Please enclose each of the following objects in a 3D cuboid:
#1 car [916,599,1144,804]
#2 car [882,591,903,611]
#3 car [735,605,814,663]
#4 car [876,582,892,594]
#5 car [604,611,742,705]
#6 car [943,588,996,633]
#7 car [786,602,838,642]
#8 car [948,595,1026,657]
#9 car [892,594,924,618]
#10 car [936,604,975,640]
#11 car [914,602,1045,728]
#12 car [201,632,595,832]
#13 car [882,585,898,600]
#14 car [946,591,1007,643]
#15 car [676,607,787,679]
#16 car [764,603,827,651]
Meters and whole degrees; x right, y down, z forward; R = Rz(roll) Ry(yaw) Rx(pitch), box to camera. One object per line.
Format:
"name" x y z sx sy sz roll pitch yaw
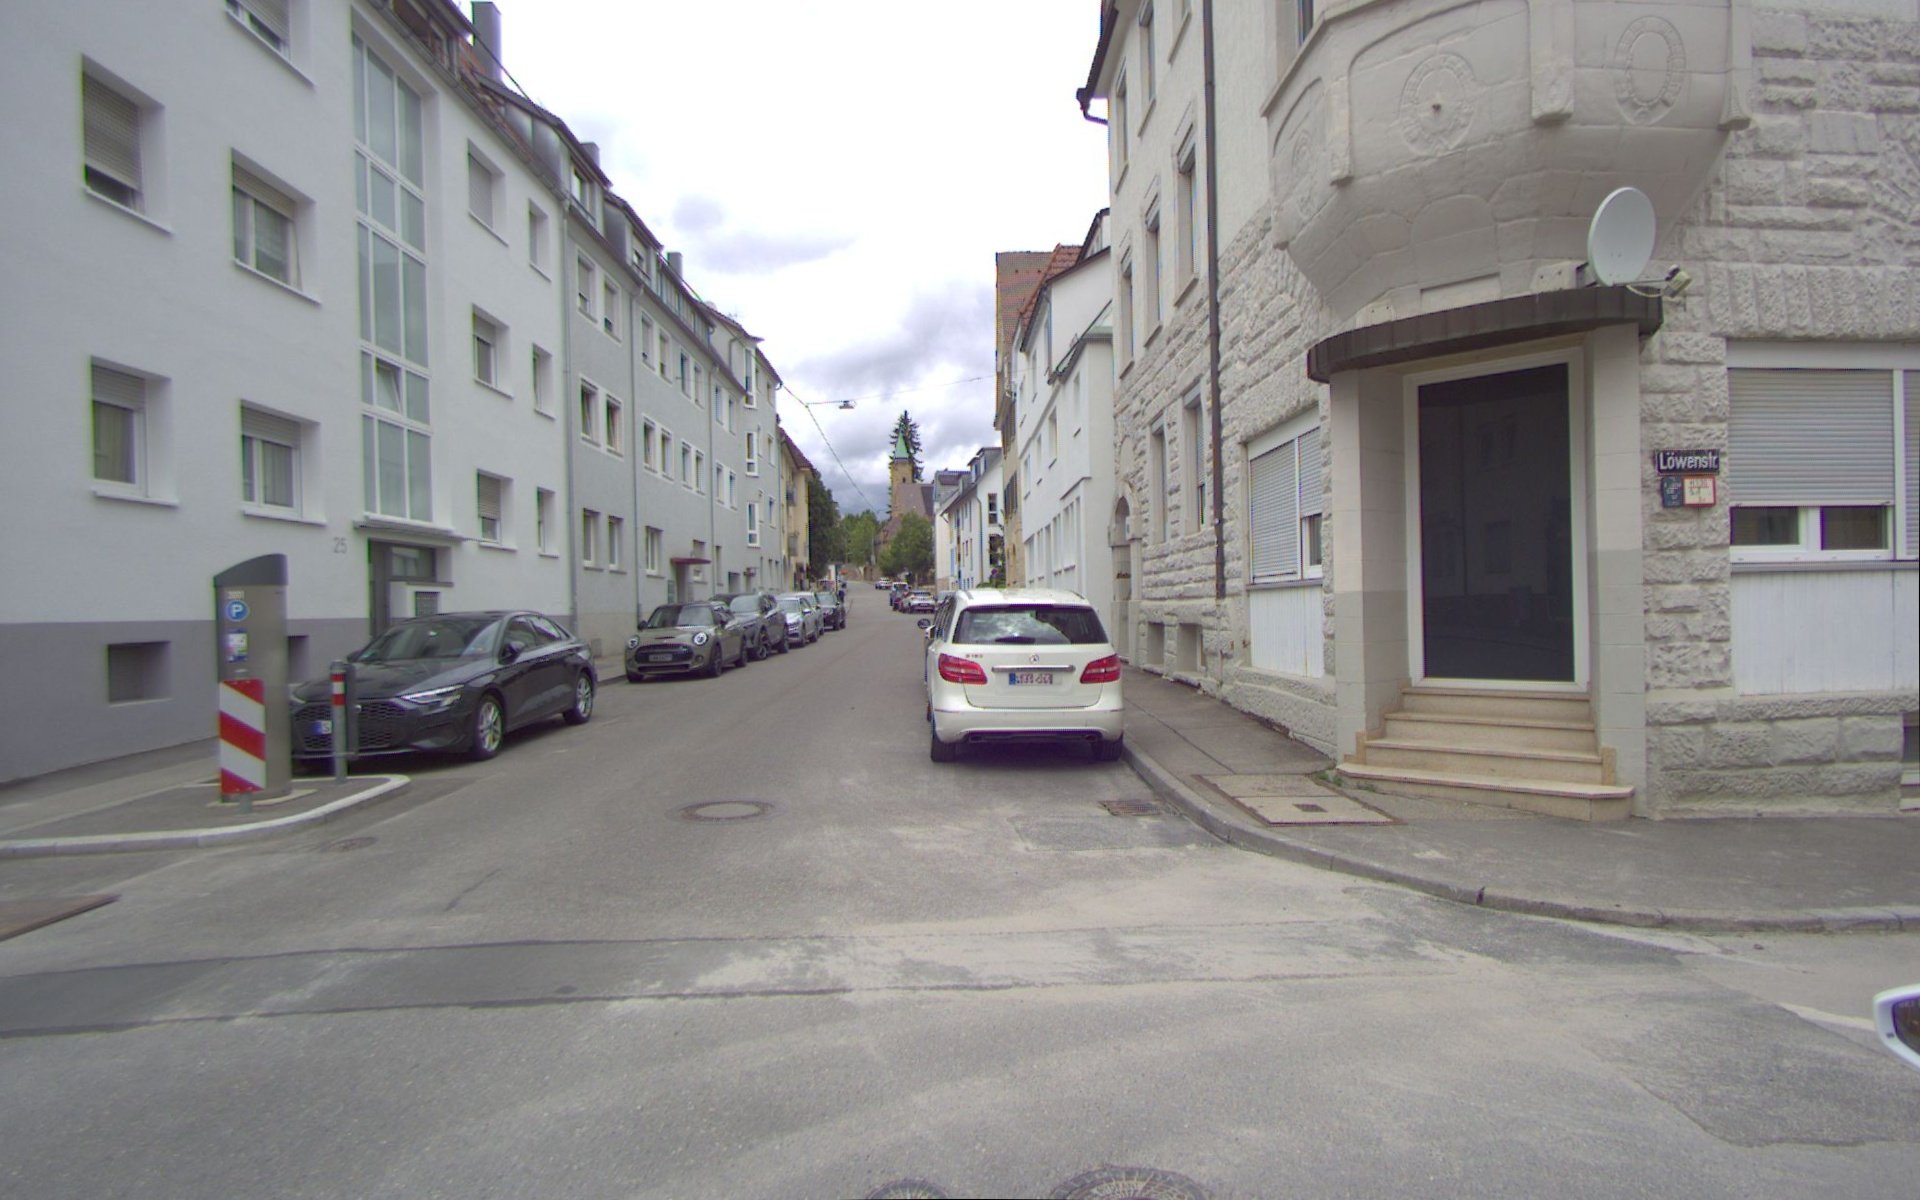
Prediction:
"car" 0.482 0.823 10.137 1.791 1.621 4.025 0 0 -3
"car" -5.296 0.072 78.904 1.641 1.499 3.623 -1 1 -4
"car" -5.341 0.940 29.354 1.702 1.467 3.717 -2 1 -3
"car" -11.086 -1.750 146.238 2.149 1.716 3.620 -1 1 -8
"car" -5.462 1.049 19.581 1.702 1.509 3.717 -2 1 -3
"car" 0.291 0.342 36.040 1.641 1.499 3.623 0 1 -4
"car" -6.038 0.856 41.343 1.702 1.467 3.717 -2 1 -3
"car" 0.610 0.598 25.629 1.641 1.404 4.025 0 1 -4
"car" -3.543 0.410 67.936 1.758 1.499 3.618 -1 1 -10
"car" -0.239 0.990 46.754 1.641 1.499 3.623 0 1 -4
"car" 0.168 0.856 15.084 1.641 1.553 4.025 0 1 -4
"car" -5.450 1.162 10.513 1.791 1.410 4.296 -2 1 -3
"car" -7.453 -0.848 107.461 1.641 1.499 3.623 -1 1 -4
"car" 0.465 0.506 31.782 1.641 1.499 3.623 0 1 -4
"car" -5.418 0.973 24.293 1.701 1.489 3.719 -2 1 1
"car" -5.677 0.909 35.050 1.702 1.467 3.717 -2 1 -3
